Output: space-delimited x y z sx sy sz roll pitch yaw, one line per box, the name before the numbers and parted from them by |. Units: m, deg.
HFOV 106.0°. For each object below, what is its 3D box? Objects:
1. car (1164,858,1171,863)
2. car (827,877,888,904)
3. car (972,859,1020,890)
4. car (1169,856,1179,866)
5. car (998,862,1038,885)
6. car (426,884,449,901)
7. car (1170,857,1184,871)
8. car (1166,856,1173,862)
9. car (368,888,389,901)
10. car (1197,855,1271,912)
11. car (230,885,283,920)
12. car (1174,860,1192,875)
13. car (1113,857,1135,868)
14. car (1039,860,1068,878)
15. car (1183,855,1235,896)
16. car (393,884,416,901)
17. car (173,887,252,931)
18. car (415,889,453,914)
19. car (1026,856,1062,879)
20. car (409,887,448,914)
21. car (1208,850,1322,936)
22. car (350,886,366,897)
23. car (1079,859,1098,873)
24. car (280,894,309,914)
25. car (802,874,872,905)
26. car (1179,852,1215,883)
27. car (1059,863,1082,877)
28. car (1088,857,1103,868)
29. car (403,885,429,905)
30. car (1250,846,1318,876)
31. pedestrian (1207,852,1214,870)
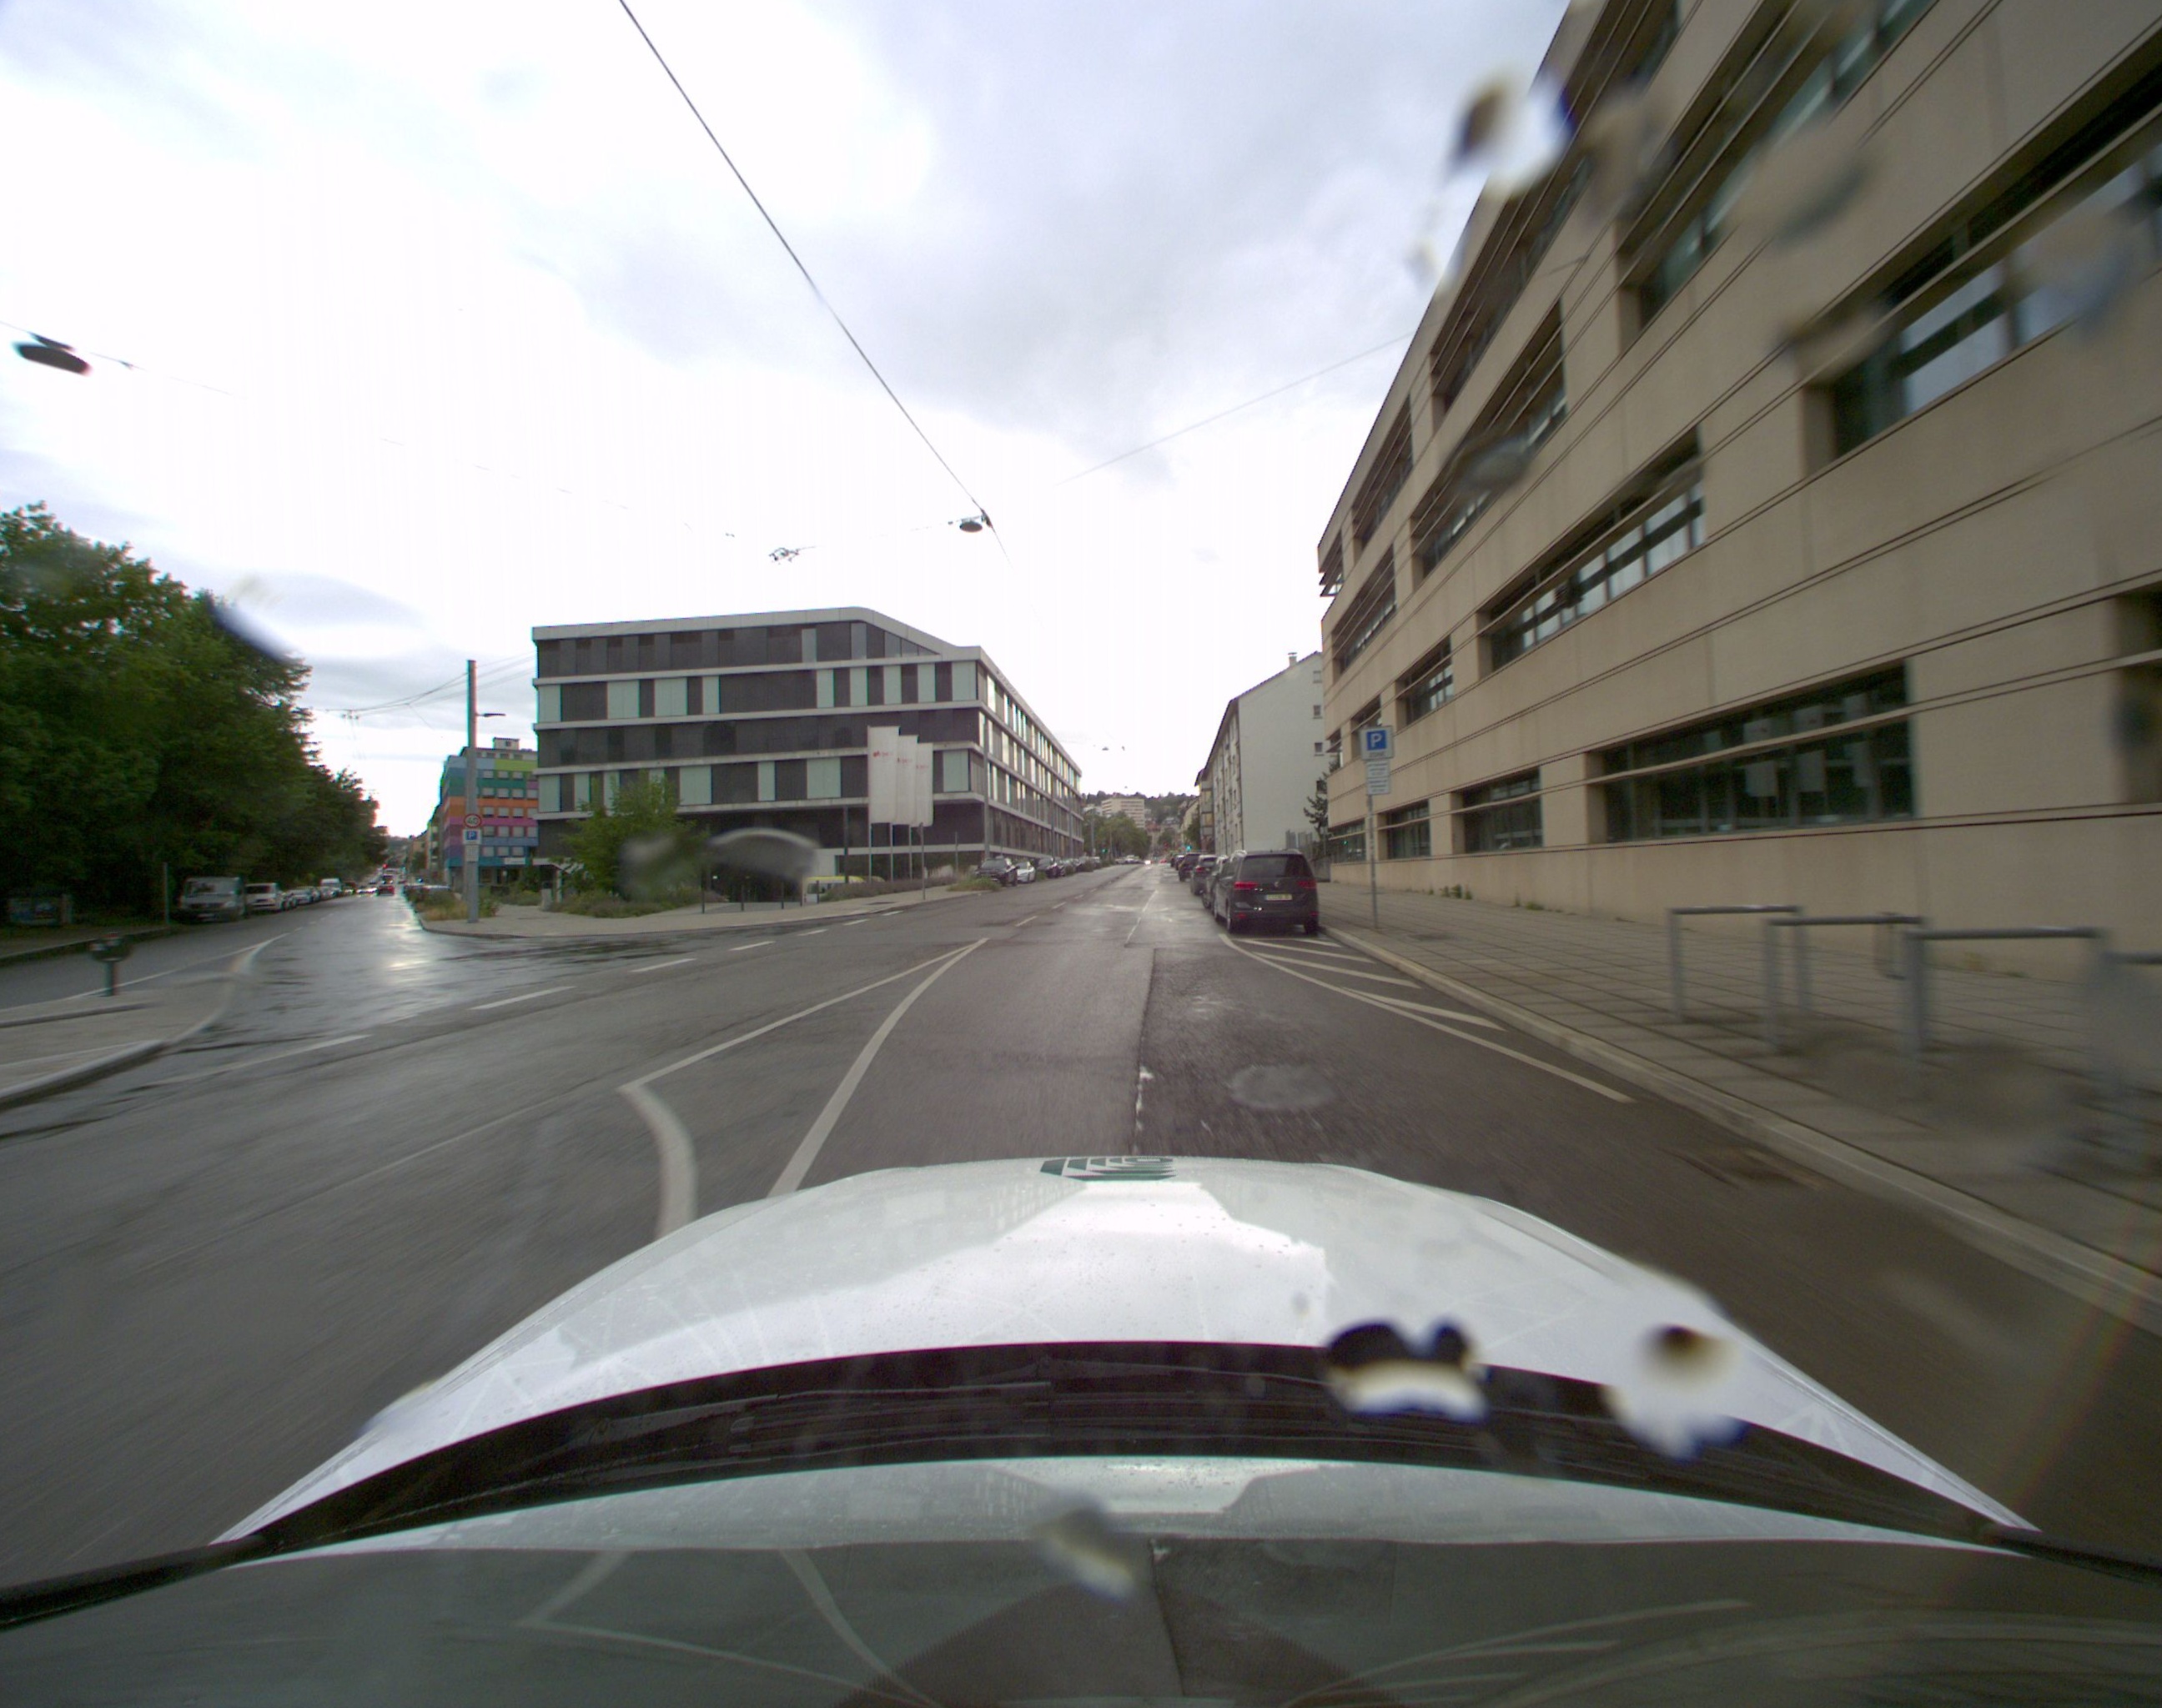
car | 24.826 1.865 234.486 1.856 1.604 4.199 -1 -1 9
car | -17.607 2.835 64.132 4.321 2.032 1.600 -1 -1 5
car | -4.792 1.138 46.510 1.840 1.617 4.498 -1 -1 6
car | 17.901 1.335 156.446 1.856 1.770 4.199 -1 -1 9
car | -4.086 1.262 53.186 1.812 1.419 4.409 -1 -1 6
car | -59.908 3.582 75.856 1.448 1.494 3.599 -1 0 -36
car | 12.317 1.250 105.009 1.647 1.738 4.186 -1 0 5
car | 24.568 1.475 226.302 1.856 1.604 4.199 -1 -1 9
car | -96.115 5.510 111.477 2.010 1.660 3.954 0 -1 -39
car | 4.356 0.819 23.663 1.717 1.512 4.063 0 -1 5
car | -52.624 3.050 52.079 2.182 2.097 4.778 0 -1 -43
car | 10.533 1.405 84.500 1.698 1.454 3.990 -1 -1 5
car | 8.183 1.637 154.499 1.650 1.669 4.152 4 -6 -45
car | -2.303 1.244 69.212 1.862 1.473 4.748 -1 -1 6
car | 5.188 0.845 33.377 1.735 1.533 4.324 -1 -1 4
car | -78.841 4.489 94.878 2.010 1.839 3.953 -1 -1 -40
car | -44.027 2.735 41.399 2.086 2.043 4.230 0 -1 -38
car | -41.567 3.034 52.379 1.676 1.450 3.826 0 -1 -36
car | -2.821 1.036 63.277 1.952 1.750 4.952 -1 -1 8
car | -45.512 3.207 56.870 1.929 1.739 3.956 0 -1 -36
car | 3.818 0.757 17.630 1.763 1.604 4.399 -1 -1 4
car | -113.515 5.904 127.904 1.757 1.607 3.849 0 -1 -43
car | 0.978 1.477 100.468 1.791 1.604 4.244 -1 -1 9
car | -68.760 4.327 71.254 1.757 1.607 3.819 0 -1 -43
car | -17.983 2.615 60.114 4.576 2.174 1.931 -1 -1 -1
car | 7.101 0.819 50.129 1.926 1.750 4.804 -1 -1 5
car | -1.051 1.645 84.874 1.828 1.396 4.399 -1 -1 6
car | 1.955 1.197 111.364 1.586 1.459 3.726 -1 0 7
car | -67.305 4.116 82.443 2.010 1.839 3.953 -1 -1 -40
car | 14.463 0.502 58.248 4.417 1.713 1.907 -5 -1 4
pedestrian | 13.724 0.750 86.282 0.635 1.870 0.539 -1 -1 7
